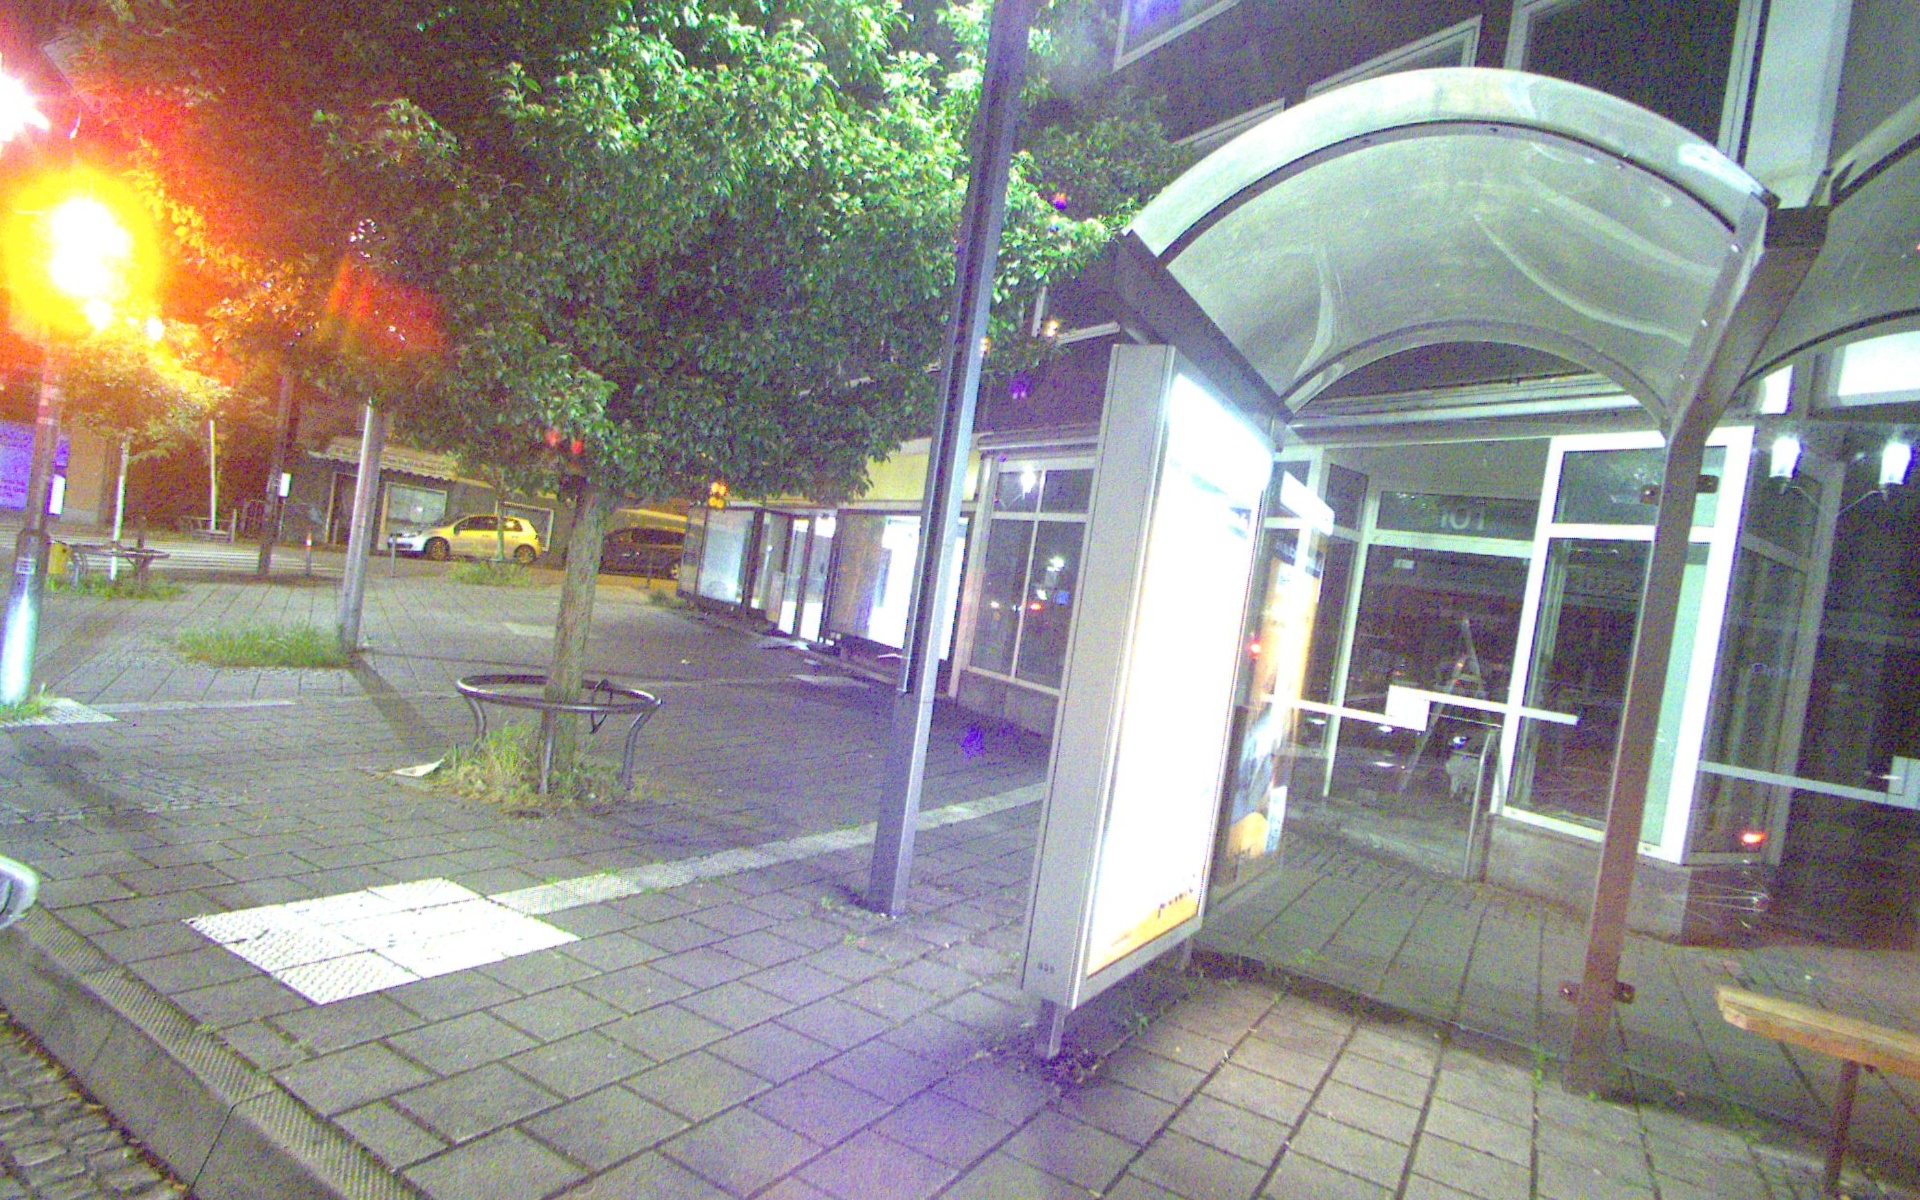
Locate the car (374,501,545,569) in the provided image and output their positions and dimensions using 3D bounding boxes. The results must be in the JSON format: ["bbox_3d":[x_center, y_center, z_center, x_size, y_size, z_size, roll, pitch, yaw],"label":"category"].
[{"bbox_3d":[-14.490,-1.848,29.298,1.798,1.472,4.036,8,2,38],"label":"car"}]

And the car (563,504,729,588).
[{"bbox_3d":[-10.139,-1.655,32.468,4.783,1.932,2.148,8,-2,-23],"label":"car"}]
